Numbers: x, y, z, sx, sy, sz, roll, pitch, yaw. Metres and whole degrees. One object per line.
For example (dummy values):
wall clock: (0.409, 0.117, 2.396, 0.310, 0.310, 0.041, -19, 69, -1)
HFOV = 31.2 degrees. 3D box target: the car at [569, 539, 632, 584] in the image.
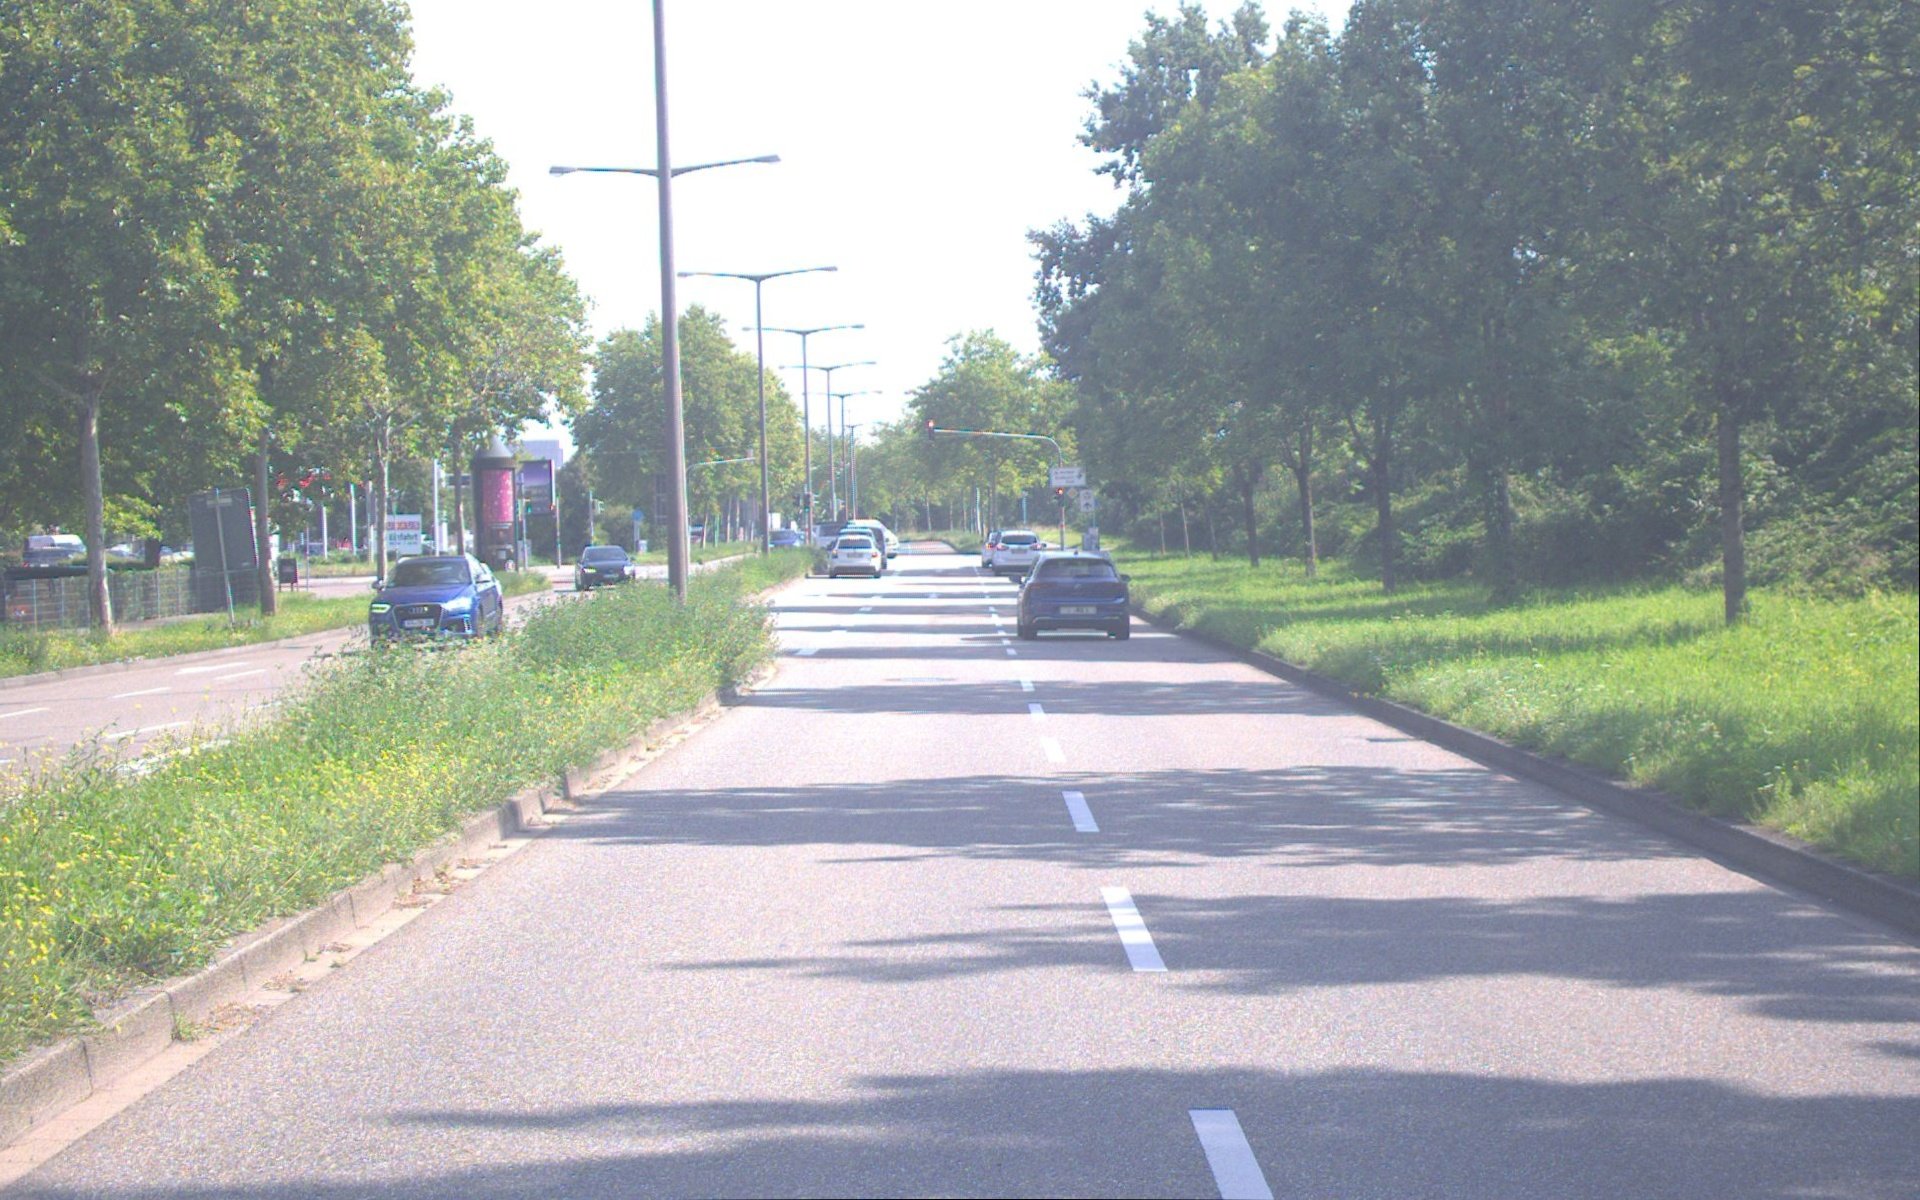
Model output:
car: (-12.052, -1.283, 115.441, 1.795, 1.412, 4.411, -3, 1, -3)

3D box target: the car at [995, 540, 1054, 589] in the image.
car: (2.324, -1.290, 124.517, 1.993, 1.648, 4.000, -2, 1, 0)

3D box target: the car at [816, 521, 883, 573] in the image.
car: (-3.799, -1.811, 118.489, 1.993, 1.696, 4.000, -2, 1, 2)

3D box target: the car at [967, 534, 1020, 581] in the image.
car: (1.344, -1.763, 140.491, 1.993, 1.648, 4.001, -1, 4, -2)

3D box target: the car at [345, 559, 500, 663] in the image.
car: (-9.012, 0.148, 57.927, 1.993, 1.579, 4.347, -3, 1, -2)

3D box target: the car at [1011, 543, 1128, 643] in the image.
car: (1.776, -0.143, 56.850, 1.780, 1.423, 4.001, 0, 3, 0)
